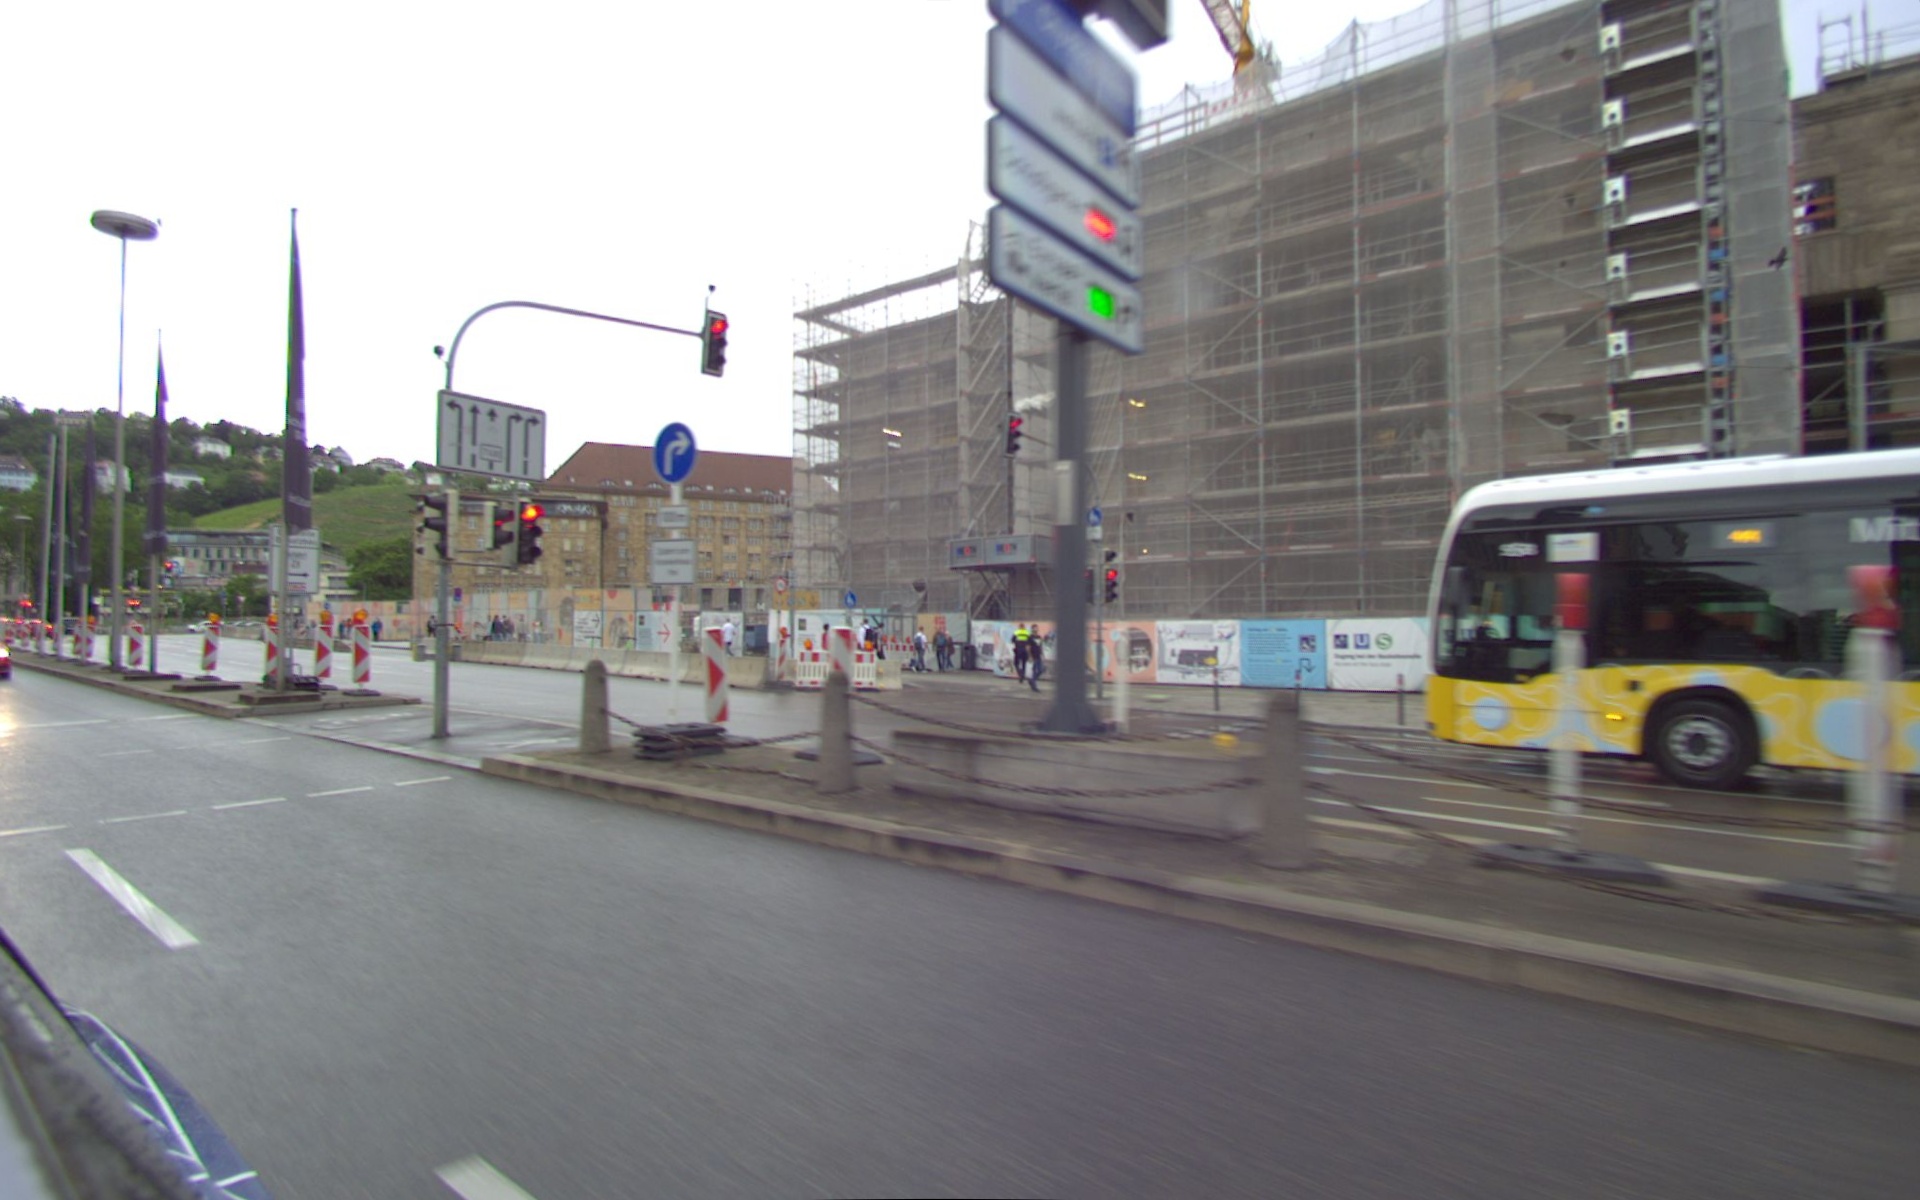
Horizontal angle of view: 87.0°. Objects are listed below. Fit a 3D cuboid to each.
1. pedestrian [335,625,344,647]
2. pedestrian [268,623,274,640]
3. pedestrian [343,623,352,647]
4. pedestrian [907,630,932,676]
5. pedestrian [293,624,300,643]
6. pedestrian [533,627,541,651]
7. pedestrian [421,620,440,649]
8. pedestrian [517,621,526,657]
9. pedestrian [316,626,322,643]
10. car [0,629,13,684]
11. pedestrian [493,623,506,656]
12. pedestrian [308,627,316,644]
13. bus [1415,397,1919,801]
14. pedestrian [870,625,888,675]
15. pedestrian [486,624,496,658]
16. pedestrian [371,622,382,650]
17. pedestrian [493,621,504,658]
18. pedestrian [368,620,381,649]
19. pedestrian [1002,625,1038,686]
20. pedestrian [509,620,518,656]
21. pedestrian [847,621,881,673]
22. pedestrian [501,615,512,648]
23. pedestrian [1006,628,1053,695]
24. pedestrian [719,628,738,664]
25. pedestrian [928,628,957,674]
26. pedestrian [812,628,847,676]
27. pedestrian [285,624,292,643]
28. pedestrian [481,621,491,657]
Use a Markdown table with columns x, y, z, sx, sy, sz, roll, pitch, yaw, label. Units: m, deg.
| x | y | z | sx | sy | sz | roll | pitch | yaw | label |
| --- | --- | --- | --- | --- | --- | --- | --- | --- | --- |
| -45.168 | 2.621 | 73.706 | 0.413 | 1.628 | 0.433 | -2 | -2 | 40 | pedestrian |
| -65.230 | 2.958 | 95.806 | 0.323 | 1.628 | 0.330 | -2 | -2 | 40 | pedestrian |
| -42.222 | 2.410 | 69.739 | 0.413 | 1.628 | 0.433 | -2 | -2 | 40 | pedestrian |
| -1.518 | 1.964 | 37.692 | 0.695 | 1.677 | 0.659 | 0 | -1 | 28 | pedestrian |
| -57.202 | 2.867 | 87.270 | 0.413 | 1.628 | 0.382 | -2 | -2 | 41 | pedestrian |
| -21.027 | 1.922 | 50.318 | 0.251 | 1.202 | 0.390 | 0 | -1 | -44 | pedestrian |
| -30.683 | 1.996 | 58.619 | 0.617 | 1.698 | 0.796 | -2 | -2 | 44 | pedestrian |
| -21.745 | 1.928 | 50.202 | 0.268 | 1.783 | 0.310 | -1 | -1 | 44 | pedestrian |
| -49.896 | 2.713 | 78.762 | 0.351 | 1.321 | 0.267 | -2 | -2 | 41 | pedestrian |
| -26.419 | 1.469 | 26.662 | 3.998 | 1.388 | 1.724 | -2 | -2 | 41 | car |
| -24.935 | 2.147 | 54.792 | 0.462 | 1.768 | 0.511 | -1 | -1 | 40 | pedestrian |
| -52.387 | 2.871 | 81.817 | 0.413 | 1.426 | 0.433 | -2 | -2 | 40 | pedestrian |
| 13.412 | -0.075 | 6.621 | 19.071 | 3.605 | 2.878 | -2 | -3 | 42 | bus |
| -2.930 | 1.797 | 36.611 | 0.640 | 1.782 | 0.527 | 0 | -2 | -7 | pedestrian |
| -22.857 | 1.994 | 49.314 | 0.321 | 1.628 | 0.345 | -2 | -2 | 41 | pedestrian |
| -43.811 | 2.698 | 75.995 | 0.490 | 2.029 | 0.535 | -1 | -1 | 41 | pedestrian |
| -22.610 | 1.930 | 49.582 | 0.365 | 1.783 | 0.363 | -2 | -2 | 42 | pedestrian |
| -40.689 | 2.398 | 70.375 | 0.685 | 2.049 | 0.585 | -2 | -2 | 41 | pedestrian |
| 1.834 | 1.673 | 30.766 | 0.755 | 1.826 | 0.862 | -2 | -2 | 35 | pedestrian |
| -22.052 | 1.861 | 49.994 | 0.346 | 1.783 | 0.307 | -2 | -2 | 44 | pedestrian |
| -3.198 | 1.553 | 33.638 | 0.872 | 1.677 | 0.746 | -2 | -2 | 42 | pedestrian |
| -22.618 | 1.553 | 50.507 | 0.395 | 1.633 | 0.365 | 0 | -1 | -45 | pedestrian |
| 1.811 | 1.580 | 26.303 | 0.963 | 1.694 | 0.746 | -2 | -2 | 41 | pedestrian |
| -9.308 | 1.842 | 40.749 | 0.557 | 1.454 | 0.529 | 1 | -2 | -42 | pedestrian |
| -0.690 | 1.998 | 39.834 | 0.951 | 1.749 | 0.701 | -1 | -2 | 32 | pedestrian |
| -4.359 | 1.732 | 33.868 | 0.709 | 1.579 | 0.941 | -2 | -2 | 42 | pedestrian |
| -57.673 | 2.861 | 86.938 | 0.357 | 1.628 | 0.370 | -2 | -2 | 40 | pedestrian |
| -24.029 | 1.964 | 51.293 | 0.391 | 1.783 | 0.363 | -2 | -2 | 44 | pedestrian |
